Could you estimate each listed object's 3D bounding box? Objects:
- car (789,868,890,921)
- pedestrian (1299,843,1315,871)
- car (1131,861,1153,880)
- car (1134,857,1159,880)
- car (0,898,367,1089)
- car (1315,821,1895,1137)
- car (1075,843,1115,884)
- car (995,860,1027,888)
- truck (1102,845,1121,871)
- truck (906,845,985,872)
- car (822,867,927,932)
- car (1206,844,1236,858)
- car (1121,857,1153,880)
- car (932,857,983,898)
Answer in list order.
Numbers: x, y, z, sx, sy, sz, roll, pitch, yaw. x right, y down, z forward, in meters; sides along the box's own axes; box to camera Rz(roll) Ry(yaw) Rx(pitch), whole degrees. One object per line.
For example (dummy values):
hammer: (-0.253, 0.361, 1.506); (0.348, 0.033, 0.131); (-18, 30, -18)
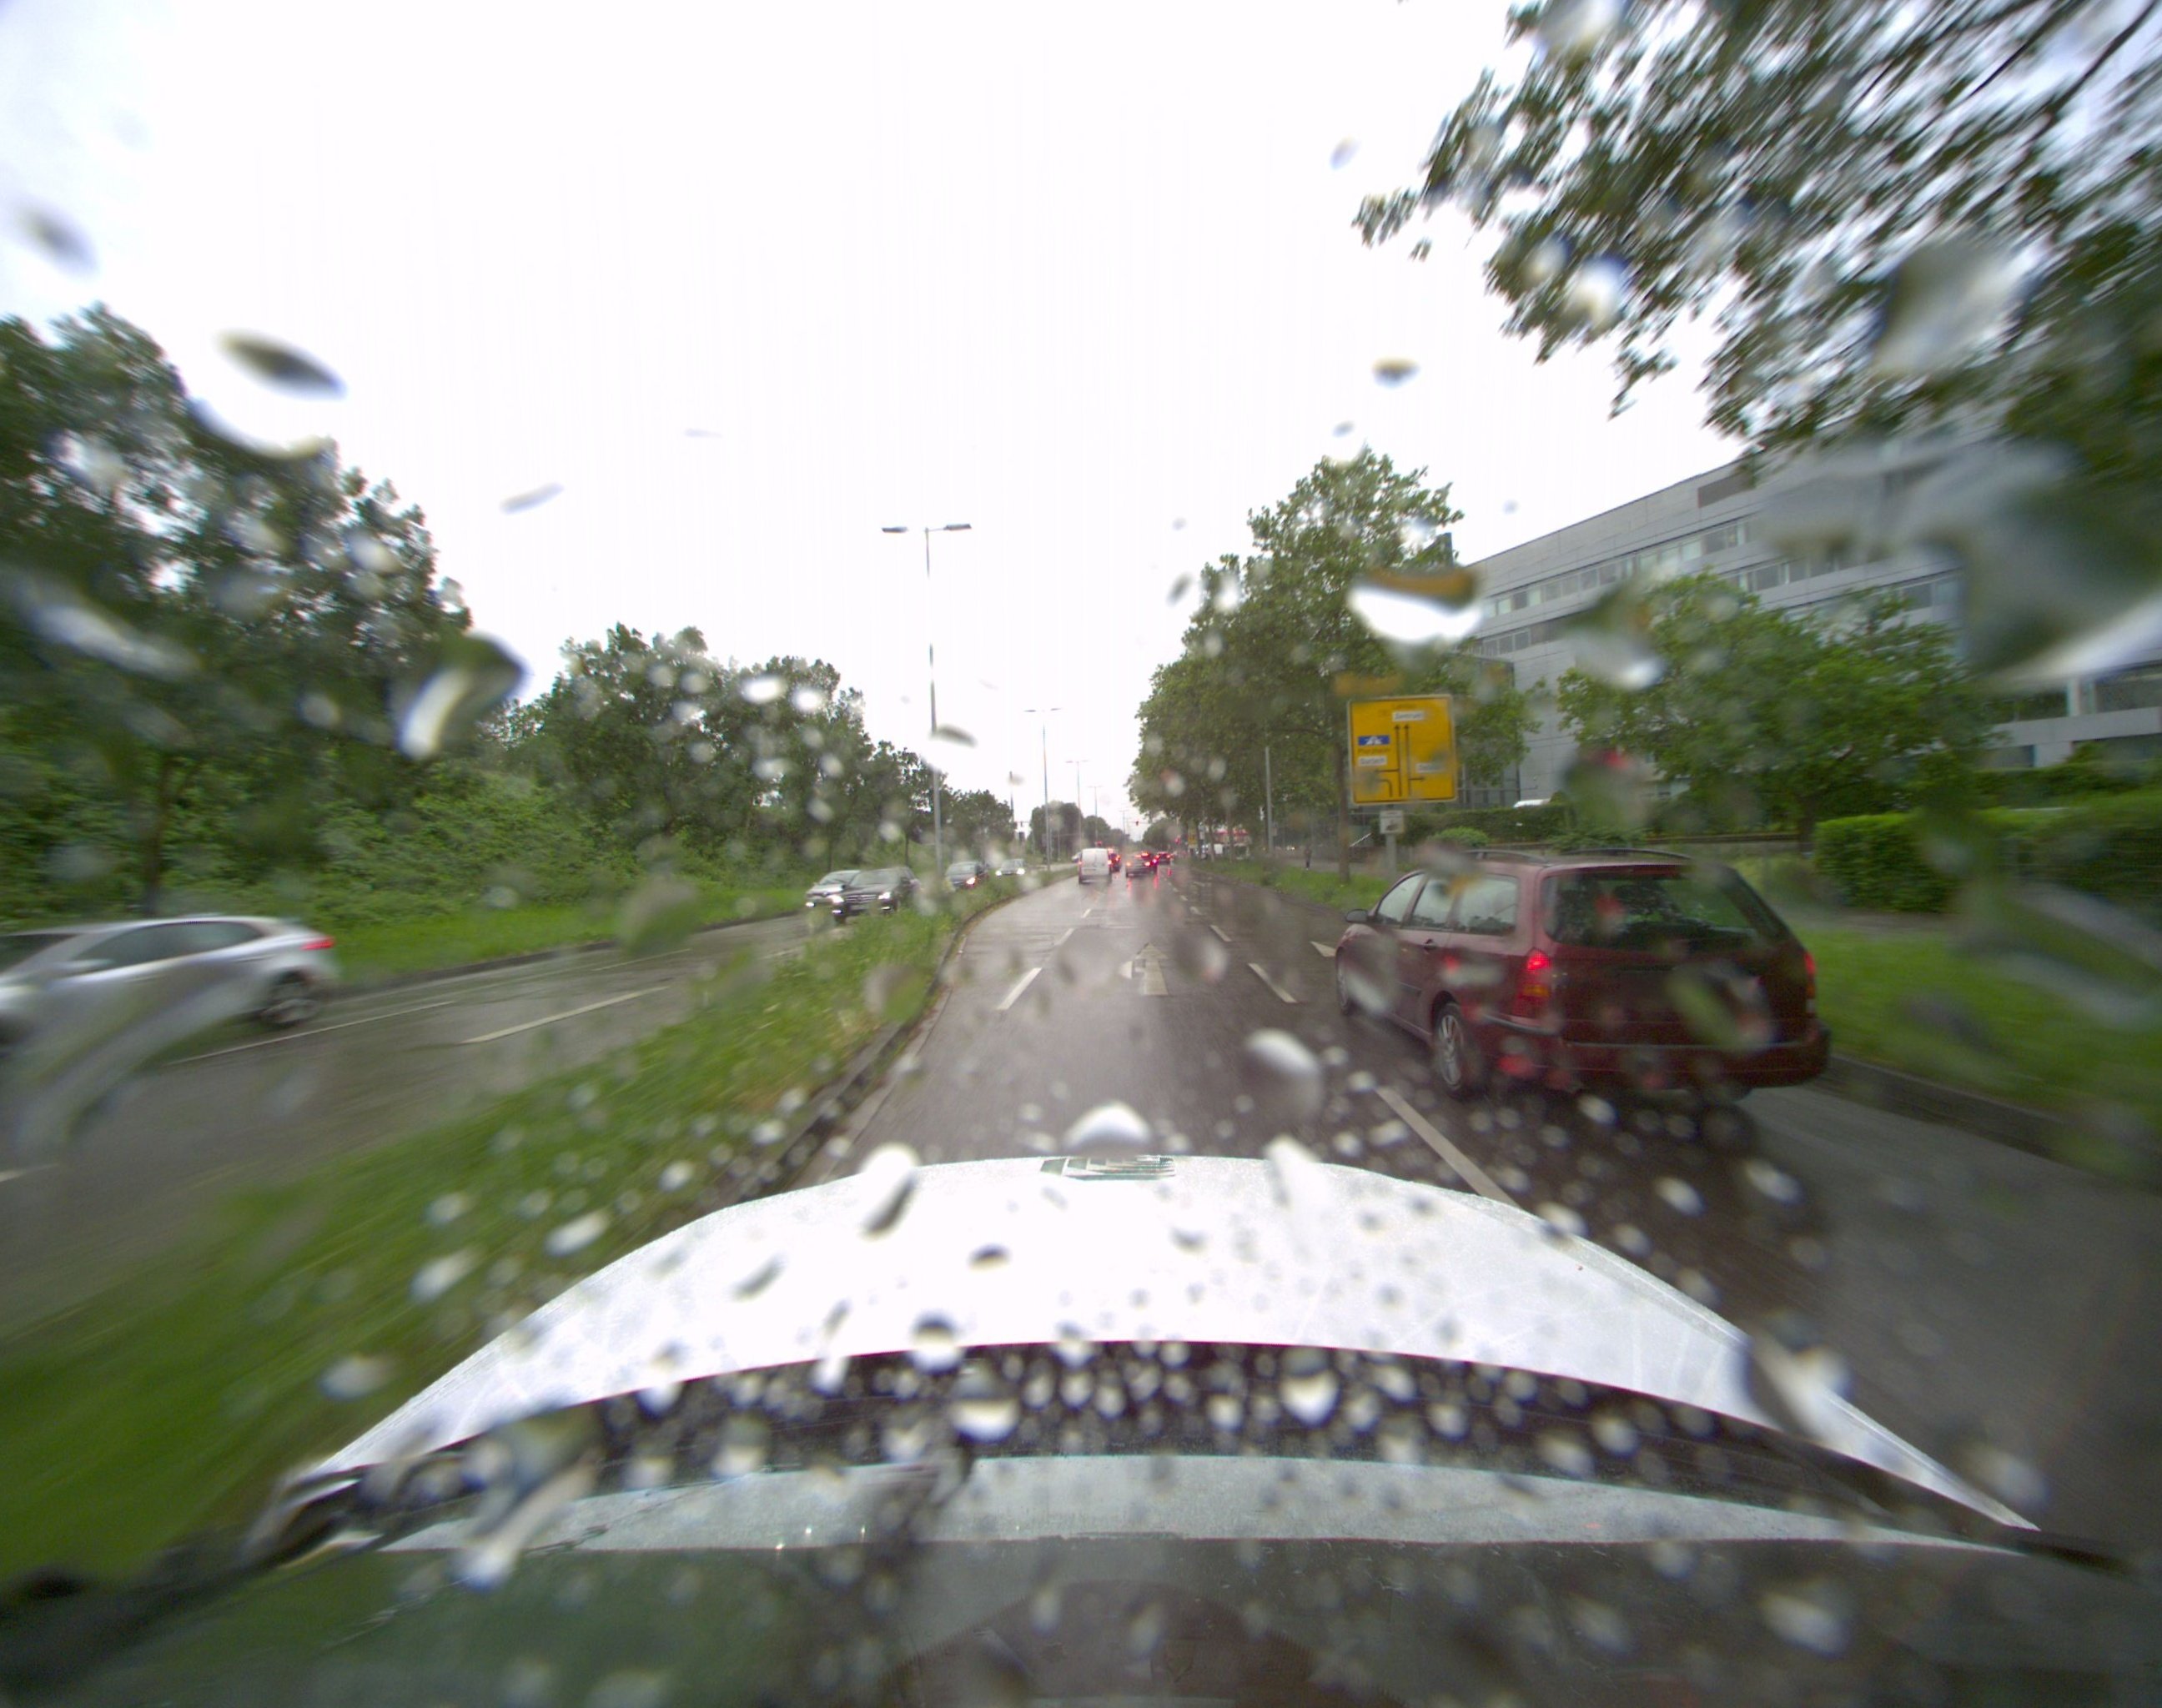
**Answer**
car: (-8.760, 1.425, 30.039); (1.900, 1.574, 4.714); (-5, -1, 4)
pedestrian: (14.334, 0.194, 51.662); (0.662, 1.762, 1.075); (-2, -1, -2)
car: (5.086, 1.363, 68.083); (1.704, 1.445, 4.004); (-2, 0, 4)
car: (4.794, 1.070, 59.911); (1.702, 1.550, 4.003); (-2, 0, 2)
car: (-10.245, 1.358, 8.254); (1.827, 1.502, 4.444); (-4, -1, 4)
car: (3.169, 0.651, 6.086); (1.831, 1.537, 4.114); (-1, -1, 3)
car: (0.783, 0.537, 43.110); (1.985, 2.014, 4.002); (-1, -2, 2)
car: (-4.447, 1.250, 52.260); (1.715, 1.618, 4.344); (-2, -1, -1)
truck: (3.086, 0.395, 82.005); (1.749, 2.466, 4.002); (-1, -1, 2)
truck: (-17.919, 0.633, 108.319); (10.179, 3.452, 2.630); (0, -2, -33)
car: (-5.824, 1.215, 23.581); (1.904, 1.574, 4.705); (-4, -1, -2)
car: (27.913, -0.586, 162.254); (6.042, 2.744, 1.979); (0, -2, -33)
car: (3.627, 0.952, 53.626); (1.986, 1.452, 4.002); (-1, -1, 2)
car: (-5.431, 0.983, 36.258); (1.821, 1.575, 4.353); (-3, 0, -4)
